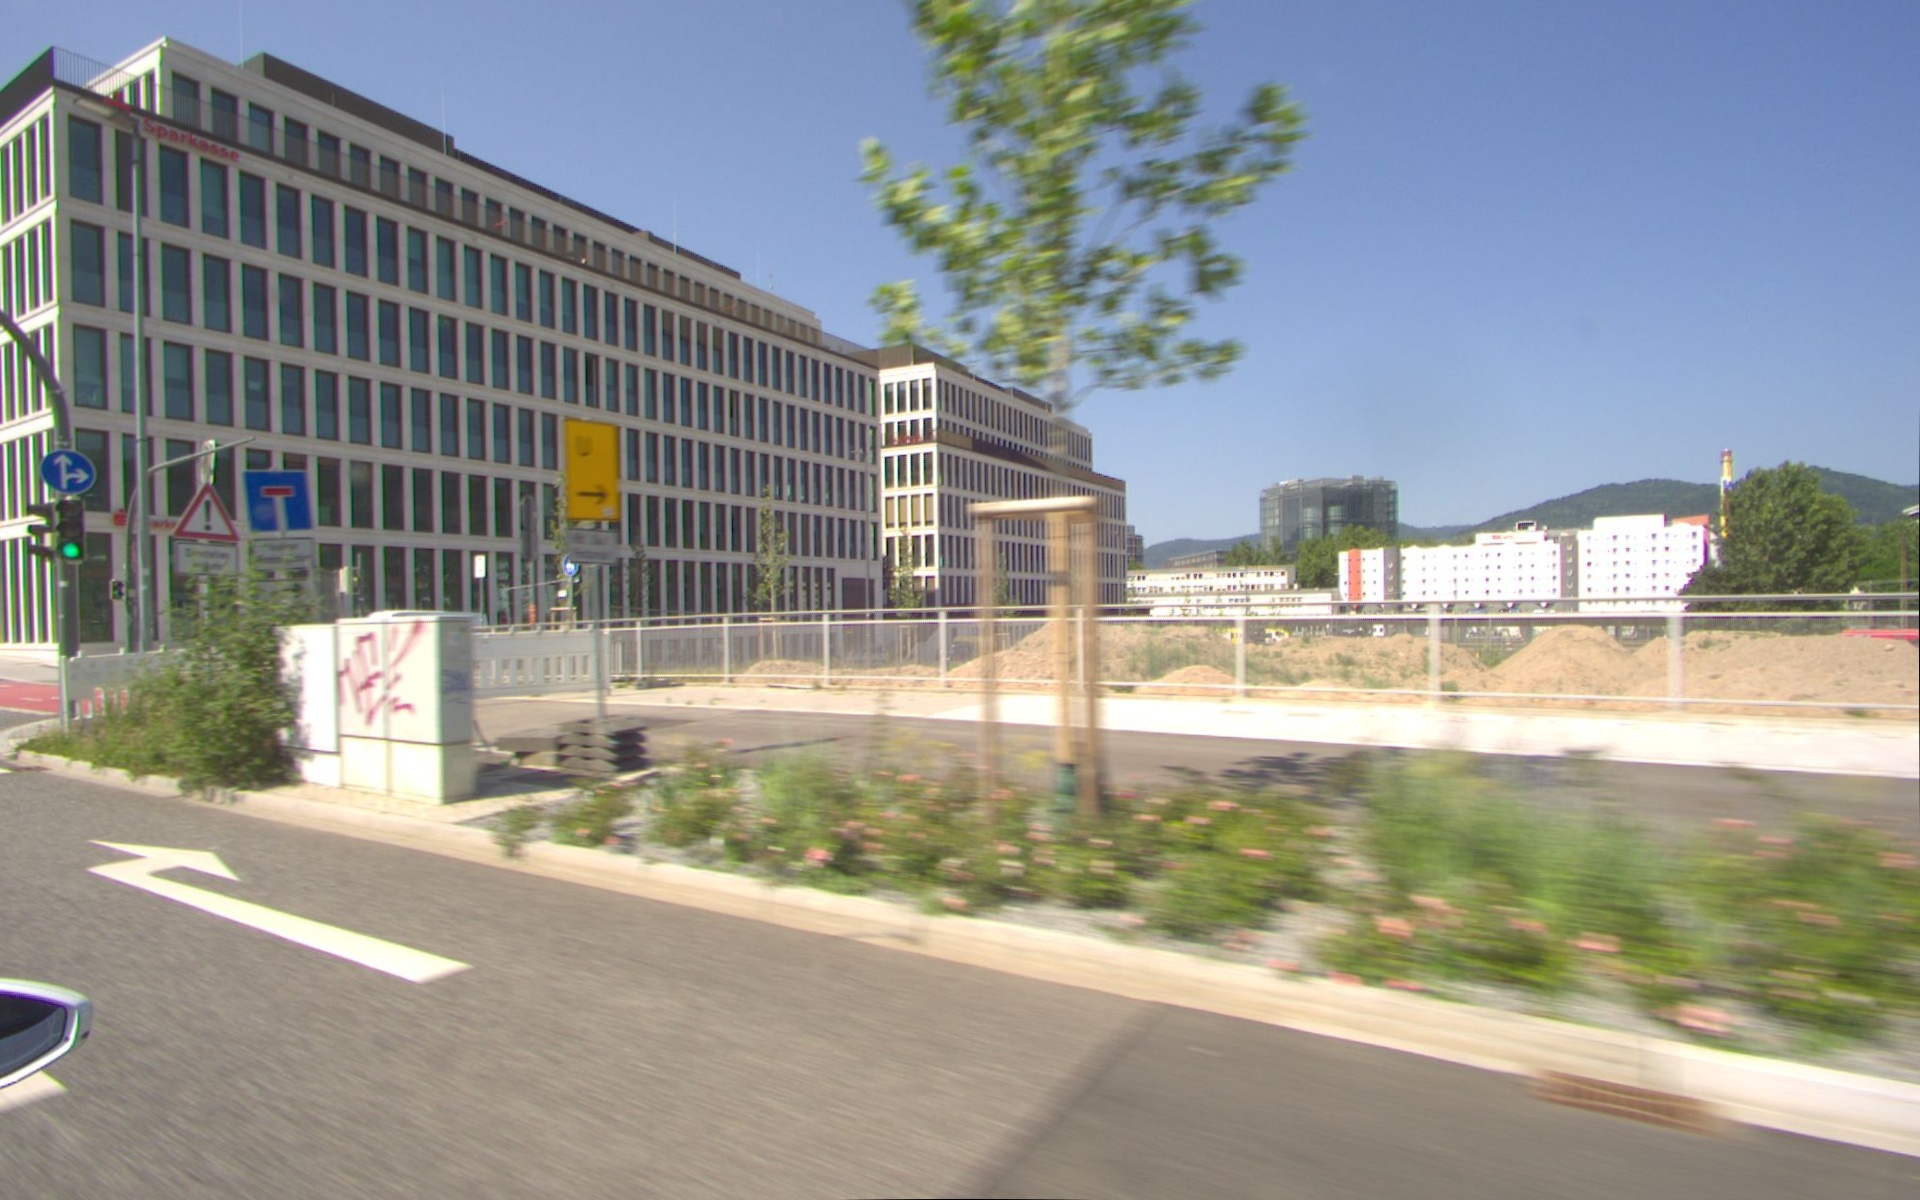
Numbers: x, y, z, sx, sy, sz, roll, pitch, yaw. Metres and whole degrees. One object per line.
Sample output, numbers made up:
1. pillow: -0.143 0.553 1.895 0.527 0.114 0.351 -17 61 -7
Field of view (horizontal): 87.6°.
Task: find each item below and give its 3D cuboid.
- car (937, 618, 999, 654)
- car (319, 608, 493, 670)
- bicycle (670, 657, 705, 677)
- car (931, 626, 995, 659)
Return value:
1. car: 0.680 2.836 78.433 2.046 2.503 6.129 -1 -5 30
2. car: -22.297 1.622 40.599 2.116 2.298 5.829 -1 -3 32
3. bicycle: -14.472 3.557 53.126 1.960 1.005 0.706 -1 -1 36
4. car: 0.189 2.161 51.253 1.633 1.614 3.675 -1 -2 32
